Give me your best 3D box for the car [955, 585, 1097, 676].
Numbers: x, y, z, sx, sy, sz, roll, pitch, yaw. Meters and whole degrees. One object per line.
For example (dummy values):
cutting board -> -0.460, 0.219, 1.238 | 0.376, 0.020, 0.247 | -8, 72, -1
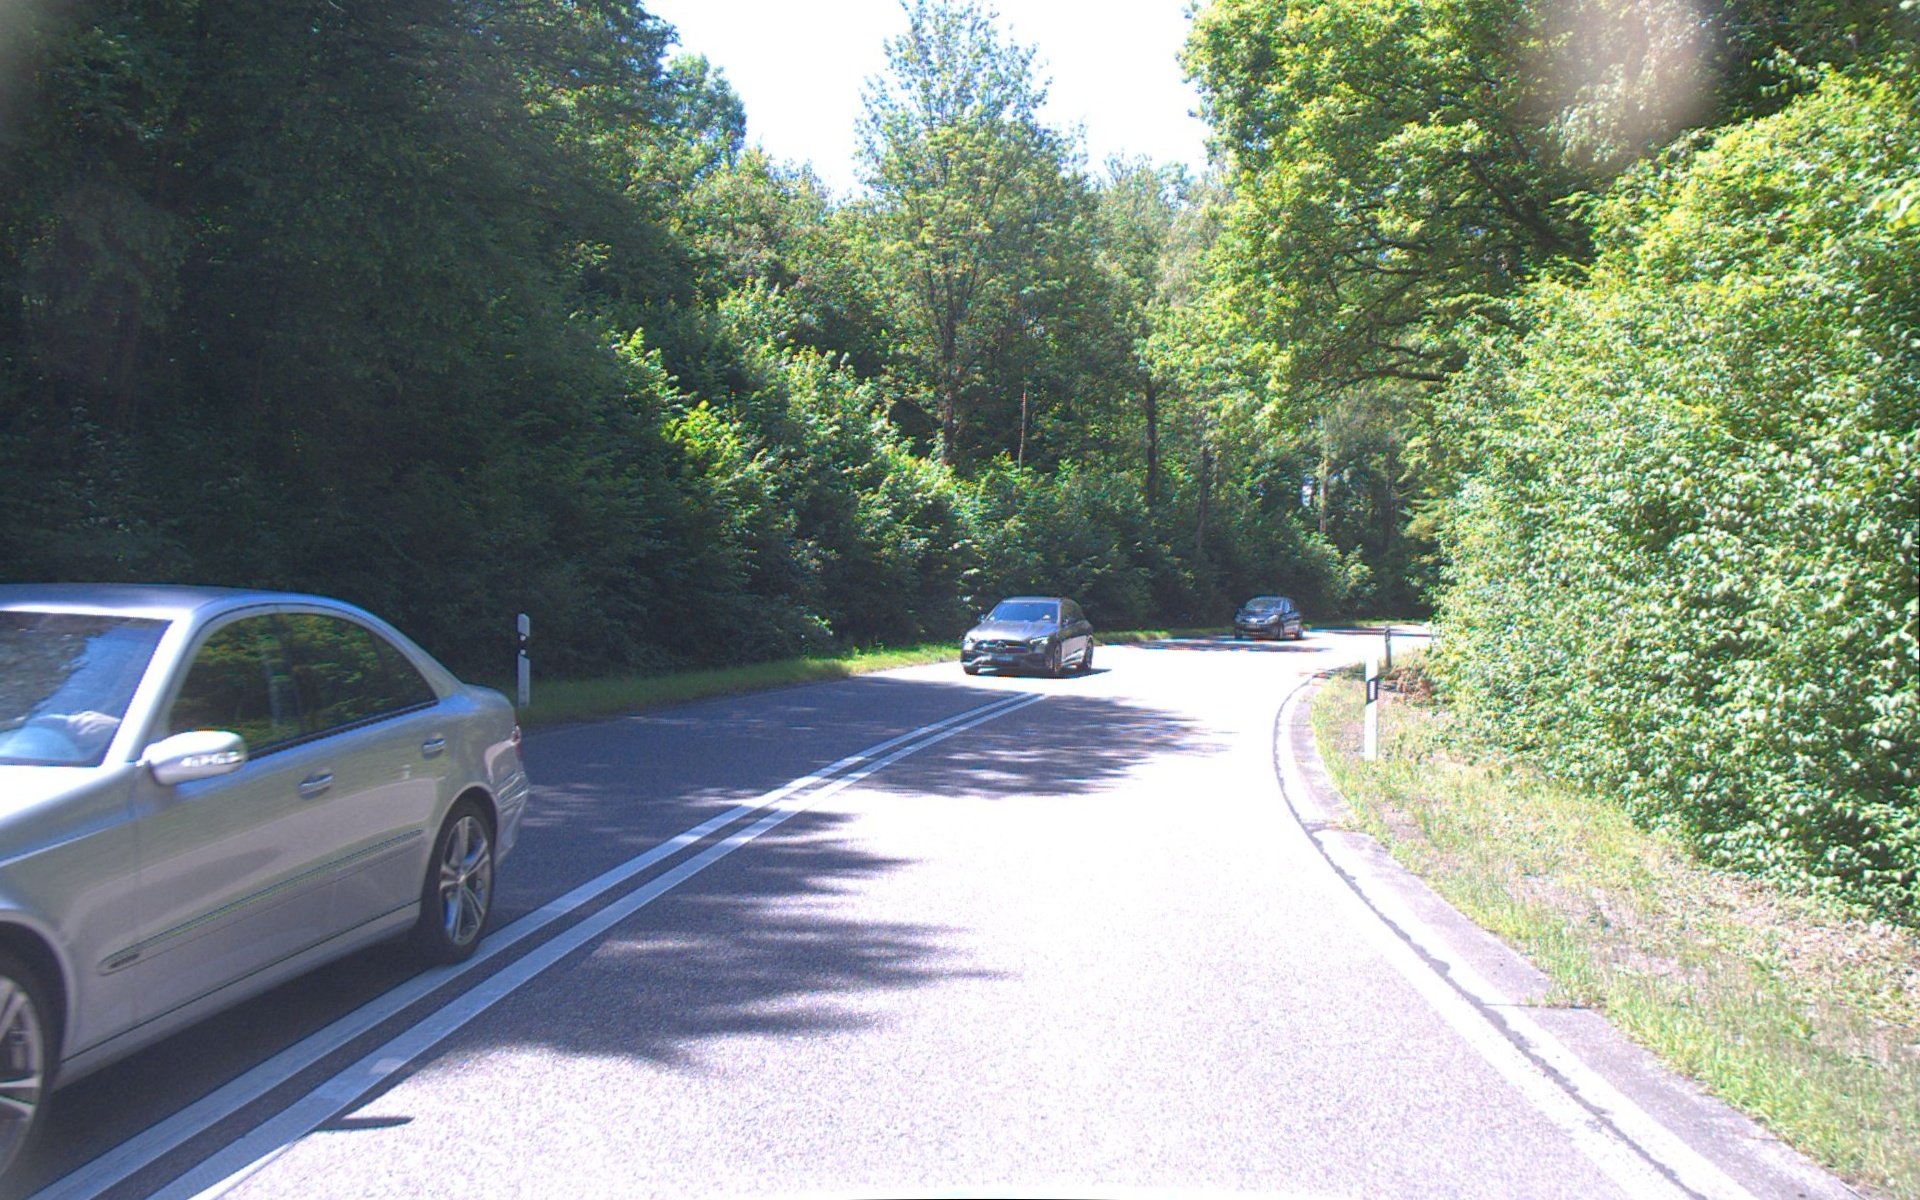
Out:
car -> 1.361, 0.558, 31.967 | 1.719, 1.601, 4.370 | 1, 0, 16

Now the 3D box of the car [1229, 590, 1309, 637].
car -> 10.855, 0.468, 57.957 | 1.645, 1.601, 3.889 | -1, -1, 28

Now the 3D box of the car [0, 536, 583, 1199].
car -> -2.895, 0.632, 5.375 | 1.806, 1.512, 4.768 | -1, -1, 6
